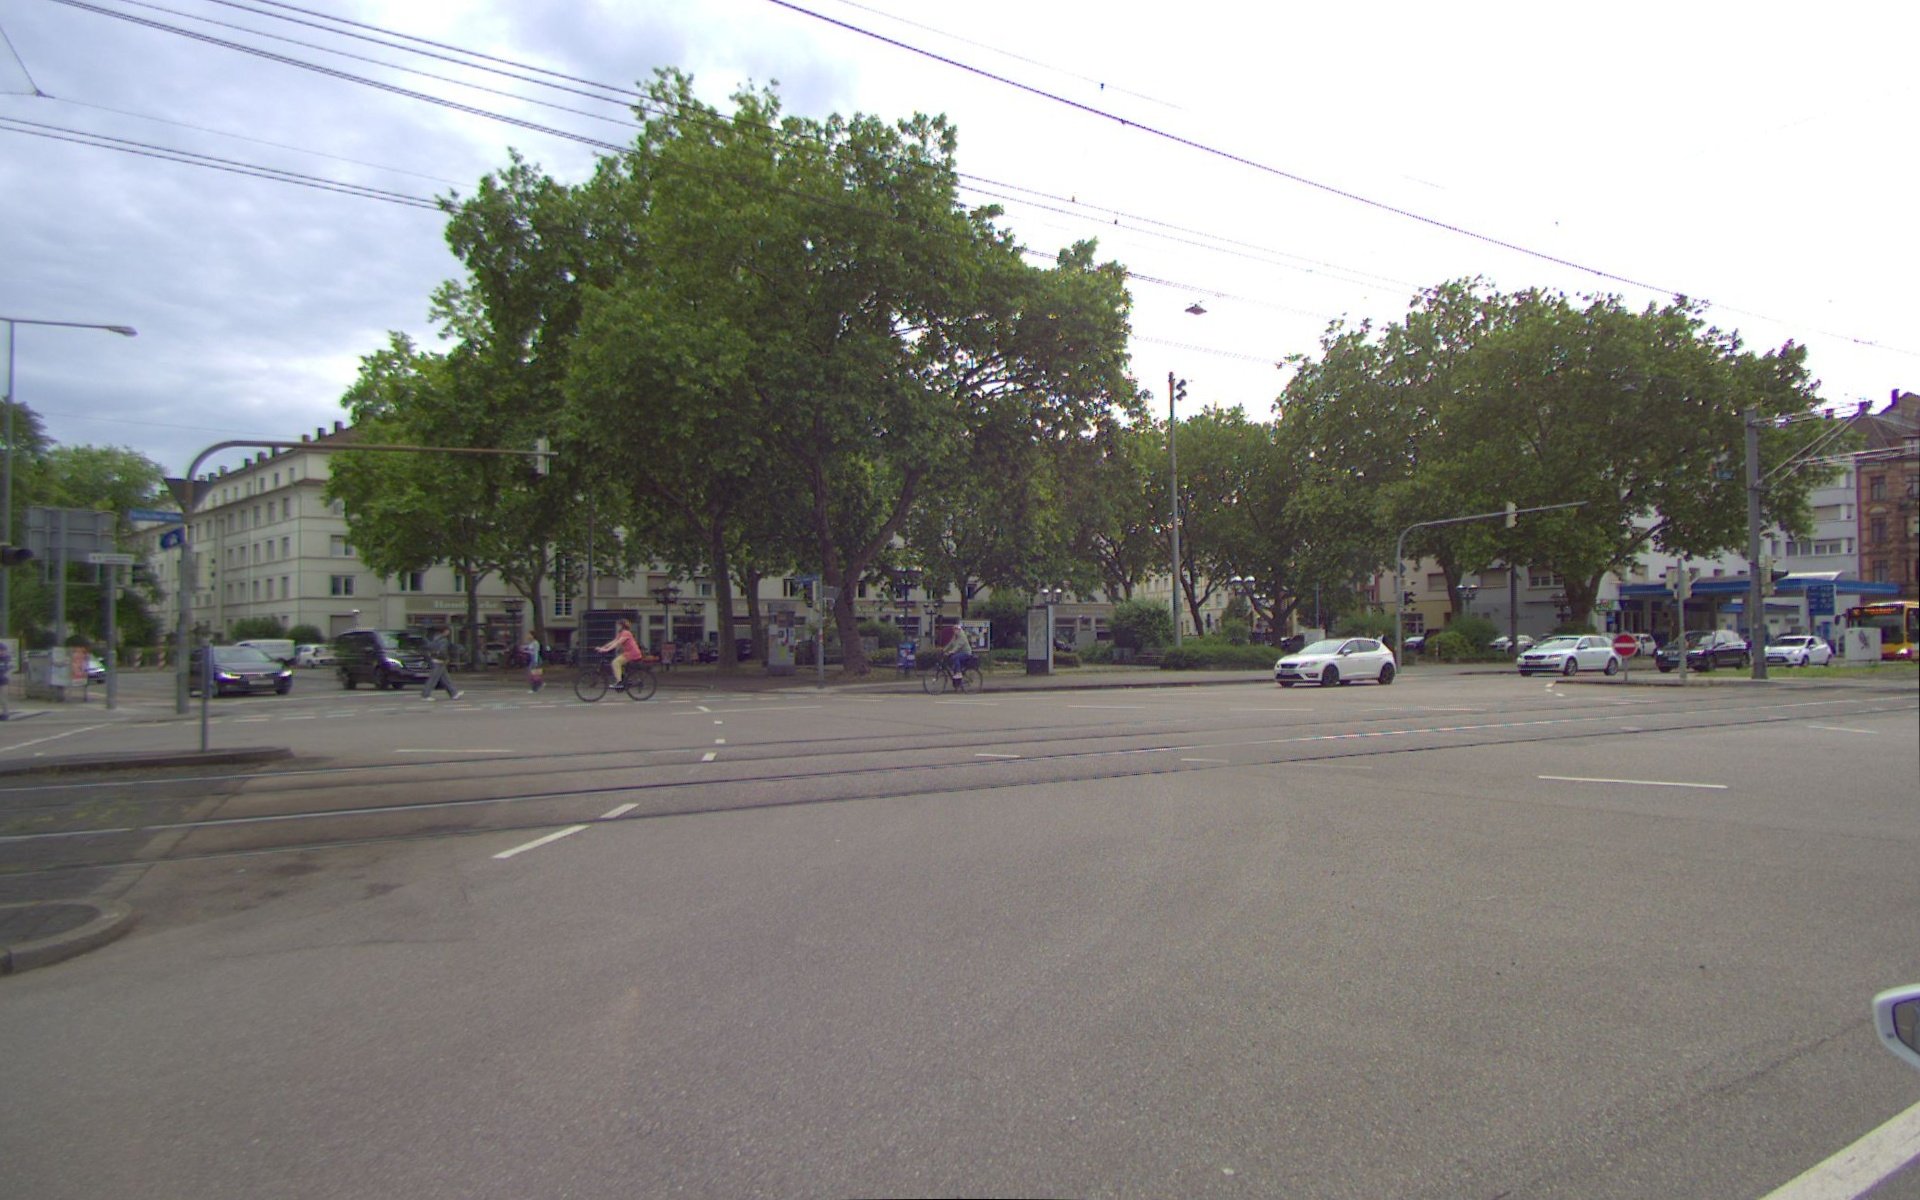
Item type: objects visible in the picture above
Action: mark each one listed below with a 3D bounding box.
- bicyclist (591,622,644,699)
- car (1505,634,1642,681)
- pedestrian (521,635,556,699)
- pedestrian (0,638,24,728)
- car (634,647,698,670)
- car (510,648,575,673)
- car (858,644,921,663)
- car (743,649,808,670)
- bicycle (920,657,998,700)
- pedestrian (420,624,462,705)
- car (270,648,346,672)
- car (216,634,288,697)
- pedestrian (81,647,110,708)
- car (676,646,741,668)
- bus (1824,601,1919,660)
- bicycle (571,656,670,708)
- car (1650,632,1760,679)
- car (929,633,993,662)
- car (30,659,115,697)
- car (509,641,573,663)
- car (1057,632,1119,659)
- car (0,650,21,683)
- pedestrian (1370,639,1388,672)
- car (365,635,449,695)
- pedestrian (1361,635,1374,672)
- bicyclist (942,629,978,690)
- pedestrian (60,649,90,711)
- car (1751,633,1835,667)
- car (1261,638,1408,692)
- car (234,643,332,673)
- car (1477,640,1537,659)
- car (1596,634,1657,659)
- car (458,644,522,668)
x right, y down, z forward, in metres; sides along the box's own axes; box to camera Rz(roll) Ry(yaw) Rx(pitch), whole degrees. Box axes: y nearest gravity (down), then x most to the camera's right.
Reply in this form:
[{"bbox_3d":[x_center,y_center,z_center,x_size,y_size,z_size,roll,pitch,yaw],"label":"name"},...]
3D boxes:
[{"bbox_3d":[-7.579,1.323,22.218,0.982,1.658,0.703,1,-4,-30],"label":"bicyclist"},{"bbox_3d":[22.438,2.032,36.653,5.635,1.546,1.832,1,-1,-30],"label":"car"},{"bbox_3d":[-11.470,1.810,27.338,0.748,1.712,0.799,1,-2,-34],"label":"pedestrian"},{"bbox_3d":[-17.608,1.516,18.445,0.360,1.633,0.504,0,-1,28],"label":"pedestrian"},{"bbox_3d":[-19.320,3.829,65.826,4.767,1.408,1.988,-3,-3,44],"label":"car"},{"bbox_3d":[-25.750,3.702,61.828,4.767,1.408,1.988,-3,-3,44],"label":"car"},{"bbox_3d":[-5.258,3.976,74.862,4.767,1.408,2.071,-3,-3,44],"label":"car"},{"bbox_3d":[-12.888,4.097,69.921,4.767,1.408,2.071,-3,-3,44],"label":"car"},{"bbox_3d":[-0.020,2.053,26.527,1.969,1.078,0.724,1,-4,-30],"label":"bicycle"},{"bbox_3d":[-12.464,1.526,24.136,0.678,1.911,0.685,0,-1,39],"label":"pedestrian"},{"bbox_3d":[-41.745,3.854,64.351,3.919,1.505,1.804,-1,-2,10],"label":"car"},{"bbox_3d":[-20.910,1.961,29.683,1.648,1.741,3.704,1,-5,-35],"label":"car"},{"bbox_3d":[-20.318,1.816,23.605,0.384,1.383,0.416,0,-1,33],"label":"pedestrian"},{"bbox_3d":[-16.853,3.807,67.164,4.767,1.408,2.071,-3,-3,44],"label":"car"},{"bbox_3d":[50.519,1.567,53.235,12.230,2.894,3.267,1,-1,-29],"label":"bus"},{"bbox_3d":[-7.485,1.798,22.161,1.969,1.078,0.724,1,-4,-31],"label":"bicycle"},{"bbox_3d":[30.419,2.220,40.988,5.087,1.807,1.695,1,-1,-29],"label":"car"},{"bbox_3d":[0.053,3.606,76.364,4.767,2.129,2.071,-3,-3,44],"label":"car"},{"bbox_3d":[-37.382,3.255,42.284,3.933,1.438,1.756,-2,-2,34],"label":"car"},{"bbox_3d":[-29.383,3.624,70.444,3.953,1.505,1.788,1,-2,-30],"label":"car"},{"bbox_3d":[10.468,3.735,82.589,4.767,2.129,2.071,-3,-3,44],"label":"car"},{"bbox_3d":[-52.310,3.565,53.967,3.934,1.706,1.929,-2,-2,35],"label":"car"},{"bbox_3d":[17.120,2.251,41.042,0.465,1.343,0.452,1,-2,-36],"label":"pedestrian"},{"bbox_3d":[-17.329,2.062,31.429,1.894,1.741,3.704,1,-5,-36],"label":"car"},{"bbox_3d":[16.827,2.193,41.463,0.370,1.498,0.358,1,-2,-36],"label":"pedestrian"},{"bbox_3d":[0.000,1.578,26.627,0.747,1.582,0.581,1,-4,-30],"label":"bicyclist"},{"bbox_3d":[-20.253,1.815,22.987,0.384,1.383,0.416,0,-1,33],"label":"pedestrian"},{"bbox_3d":[37.501,2.233,45.211,3.843,1.416,1.695,1,-1,-29],"label":"car"},{"bbox_3d":[11.338,1.909,30.363,4.361,1.467,1.833,1,-1,-30],"label":"car"},{"bbox_3d":[-40.717,3.466,60.487,4.788,1.685,1.979,1,-3,-37],"label":"car"},{"bbox_3d":[36.491,3.271,66.984,3.961,1.190,1.720,1,-2,-30],"label":"car"},{"bbox_3d":[39.625,2.759,59.670,3.363,1.376,1.695,1,-1,-29],"label":"car"},{"bbox_3d":[-28.435,3.362,60.748,4.767,1.408,1.988,-3,-3,44],"label":"car"}]
